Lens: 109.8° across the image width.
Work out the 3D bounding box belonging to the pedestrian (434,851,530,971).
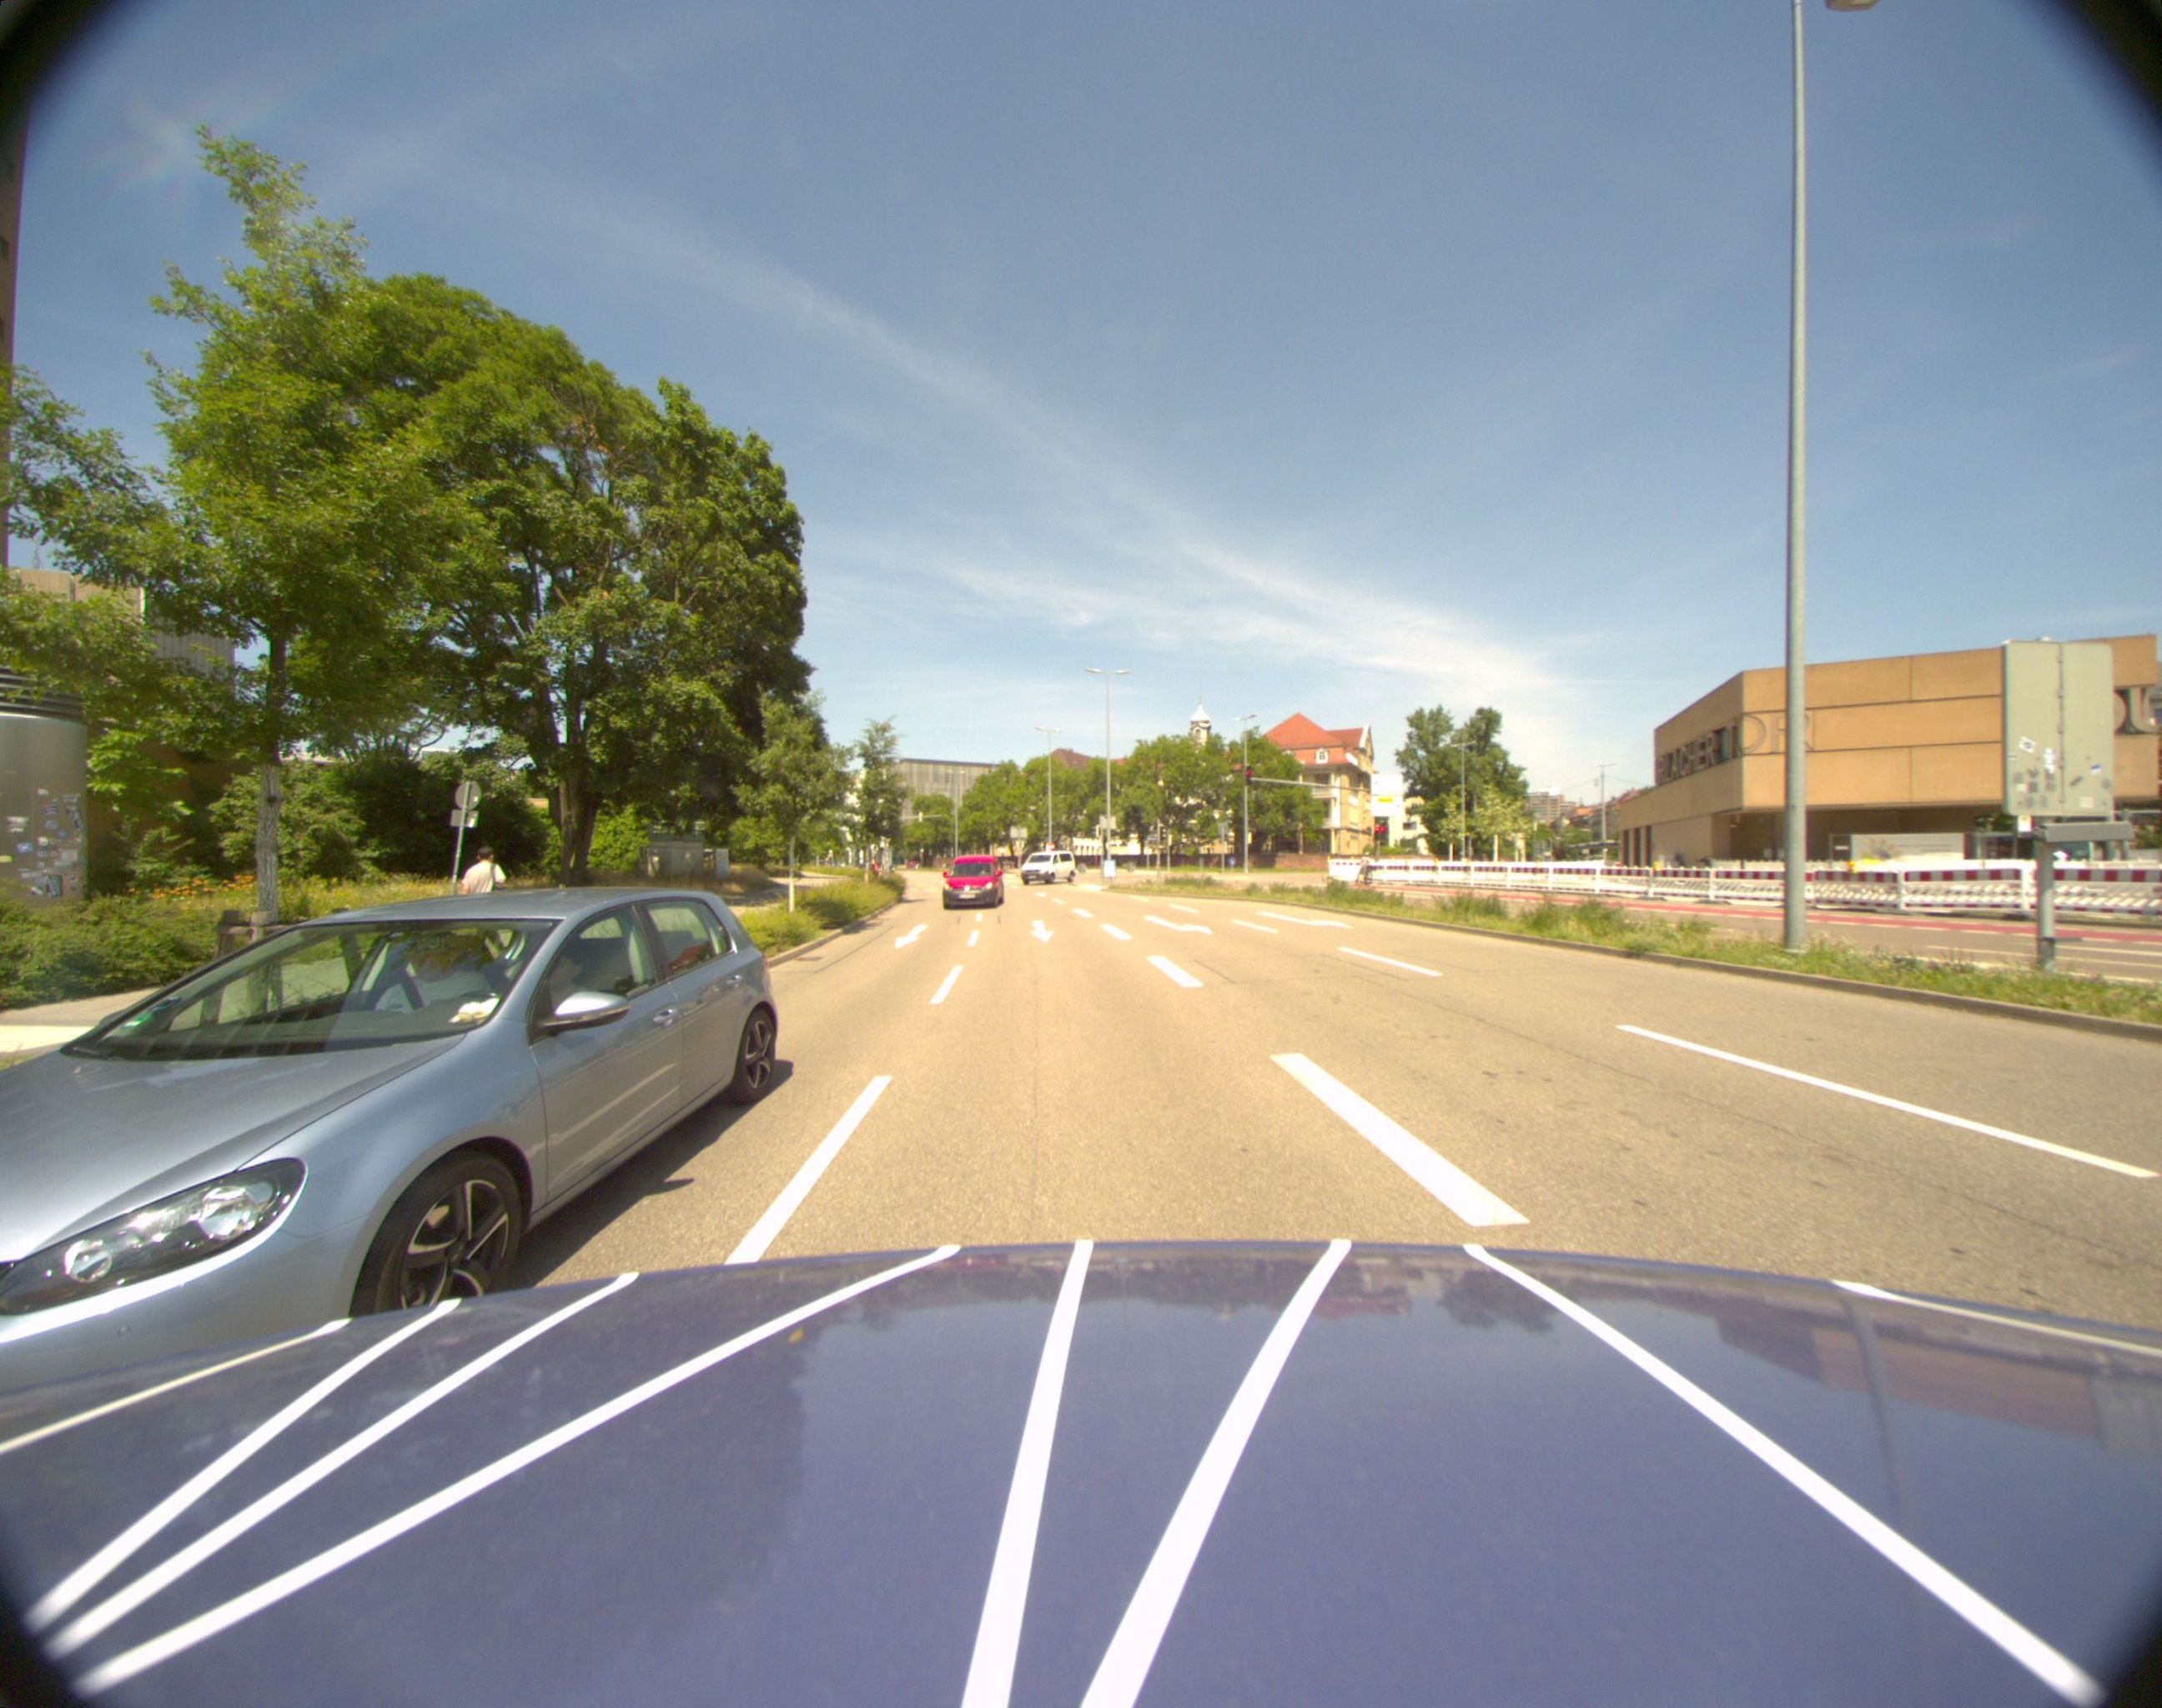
[{"bbox_3d":[-8.809,0.813,11.209,0.734,1.696,0.810,-1,0,2],"label":"pedestrian"}]

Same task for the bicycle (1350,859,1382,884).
[{"bbox_3d":[13.706,0.823,36.616,0.524,1.174,1.896,-1,1,-11],"label":"bicycle"}]

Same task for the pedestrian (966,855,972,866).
[{"bbox_3d":[-20.272,1.158,137.685,0.790,2.001,0.838,0,-2,-28],"label":"pedestrian"}]

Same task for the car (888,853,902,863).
[{"bbox_3d":[-34.688,0.707,141.826,1.784,1.673,3.993,0,-2,-25],"label":"car"}]

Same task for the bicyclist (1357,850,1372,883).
[{"bbox_3d":[13.680,0.619,36.670,0.531,1.570,0.498,-1,1,-11],"label":"bicyclist"}]

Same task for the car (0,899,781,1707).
[{"bbox_3d":[-2.944,1.025,3.342,1.833,1.406,3.993,0,0,-3],"label":"car"}]

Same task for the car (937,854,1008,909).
[{"bbox_3d":[-3.697,0.959,26.675,1.832,1.755,4.281,-1,-2,0],"label":"car"}]

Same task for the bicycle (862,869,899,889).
[{"bbox_3d":[-10.892,1.333,41.296,1.992,1.039,0.559,0,-1,22],"label":"bicycle"}]

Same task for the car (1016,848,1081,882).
[{"bbox_3d":[-1.923,0.722,47.178,1.996,1.973,5.406,-2,-2,21],"label":"car"}]

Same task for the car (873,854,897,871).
[{"bbox_3d":[-20.432,0.911,79.097,1.711,1.576,4.549,0,-2,-22],"label":"car"}]

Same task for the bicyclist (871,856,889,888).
[{"bbox_3d":[-10.931,0.995,41.305,0.701,1.705,0.552,0,-1,23],"label":"bicyclist"}]

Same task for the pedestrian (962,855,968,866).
[{"bbox_3d":[-20.974,1.157,136.917,0.790,2.001,0.962,0,-2,-28],"label":"pedestrian"}]

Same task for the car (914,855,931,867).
[{"bbox_3d":[-28.358,1.338,135.684,2.003,2.001,4.206,0,-2,-27],"label":"car"}]
